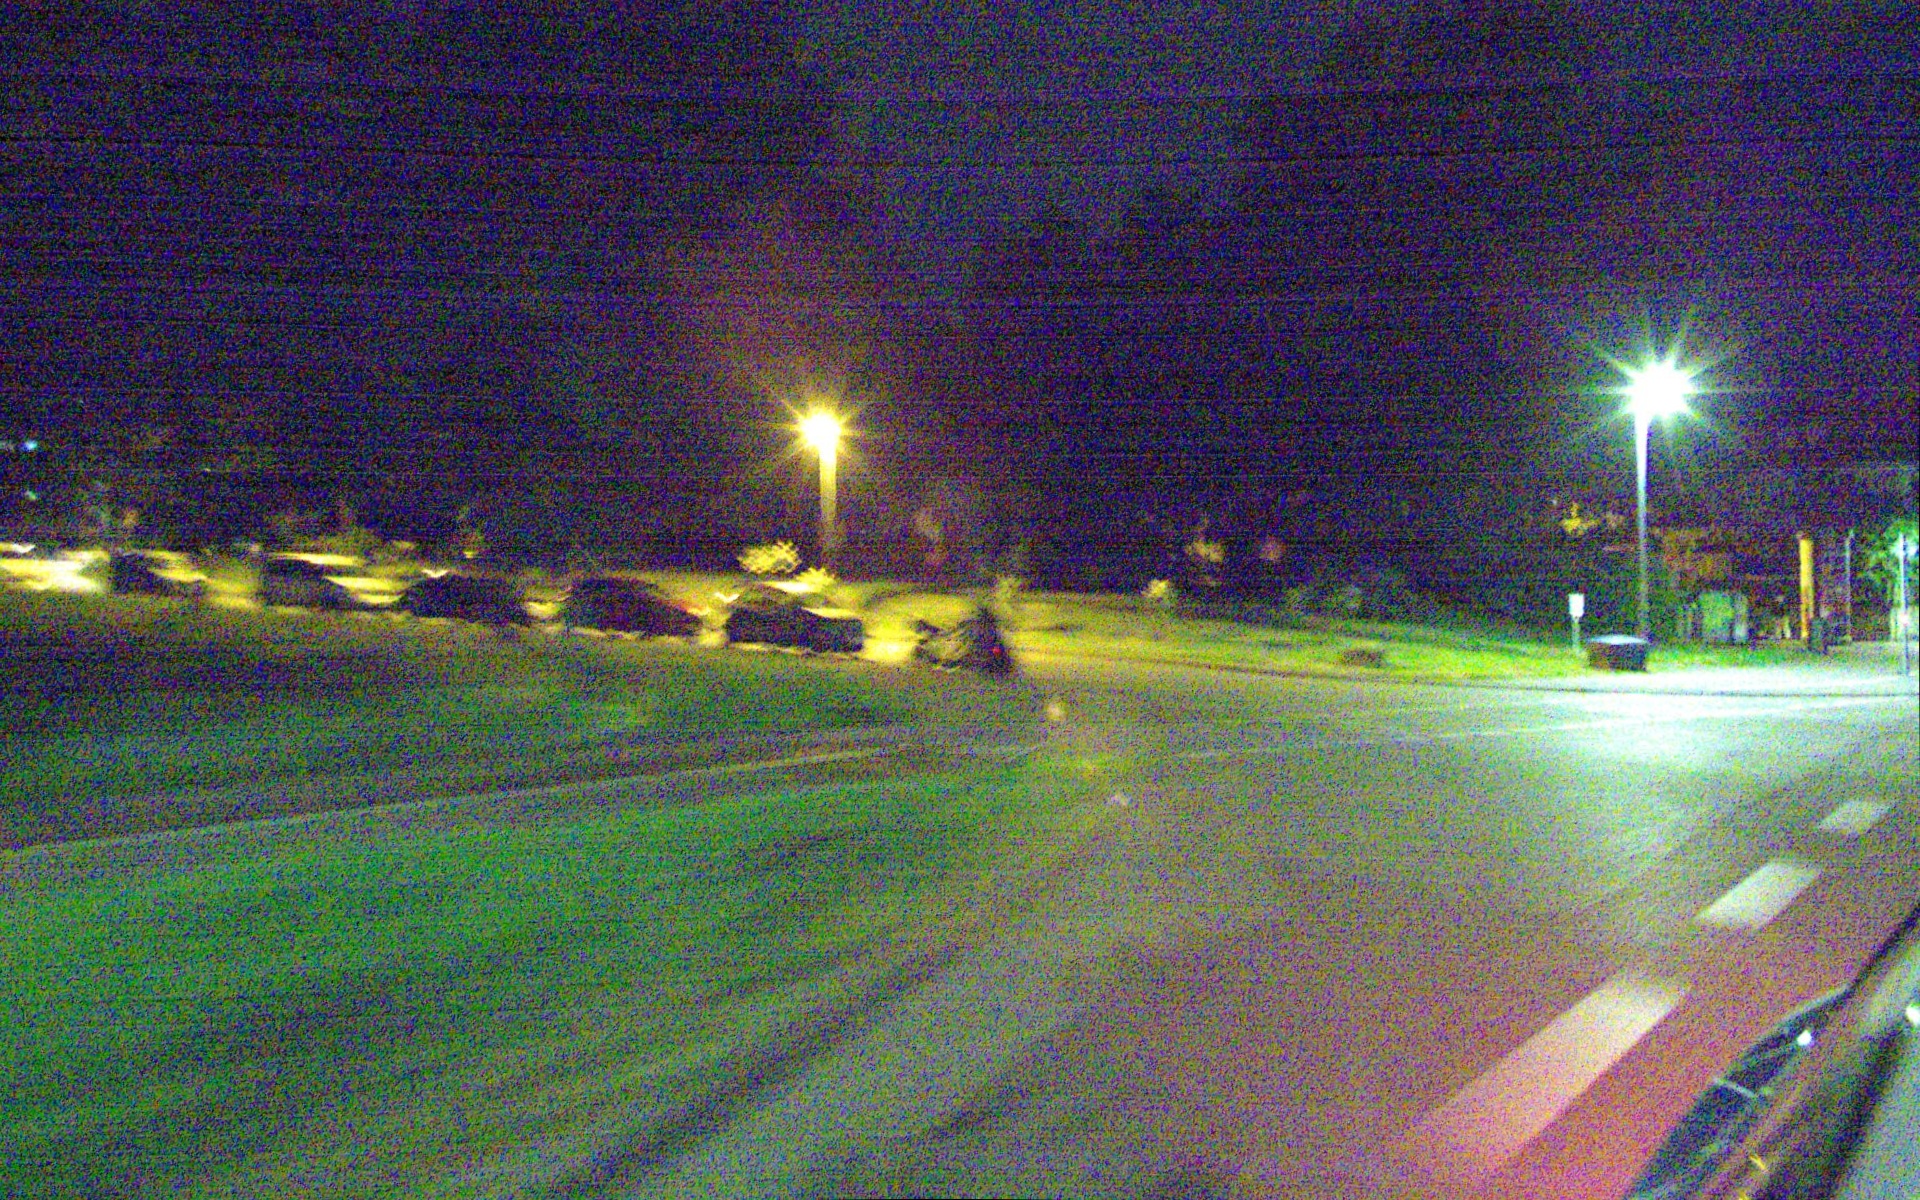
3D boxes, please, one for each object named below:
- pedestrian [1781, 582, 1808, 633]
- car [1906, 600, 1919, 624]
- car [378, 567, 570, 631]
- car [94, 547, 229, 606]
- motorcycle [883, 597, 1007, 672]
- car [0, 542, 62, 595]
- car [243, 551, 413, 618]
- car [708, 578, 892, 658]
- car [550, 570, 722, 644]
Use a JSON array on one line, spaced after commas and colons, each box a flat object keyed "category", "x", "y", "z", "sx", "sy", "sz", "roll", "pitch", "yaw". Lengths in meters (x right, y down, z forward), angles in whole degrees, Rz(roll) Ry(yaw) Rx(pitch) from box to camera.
[{"category": "pedestrian", "x": 33.050, "y": 0.281, "z": 40.089, "sx": 0.759, "sy": 1.961, "sz": 0.647, "roll": 1, "pitch": 1, "yaw": -40}, {"category": "car", "x": 61.876, "y": 0.735, "z": 63.283, "sx": 1.698, "sy": 1.492, "sz": 3.721, "roll": 0, "pitch": 0, "yaw": -37}, {"category": "car", "x": -12.584, "y": -0.057, "z": 26.231, "sx": 4.652, "sy": 1.493, "sz": 1.751, "roll": 2, "pitch": 1, "yaw": 20}, {"category": "car", "x": -24.239, "y": -0.719, "z": 30.726, "sx": 3.498, "sy": 1.691, "sz": 1.657, "roll": 2, "pitch": 1, "yaw": 21}, {"category": "motorcycle", "x": -0.295, "y": 0.593, "z": 18.460, "sx": 2.251, "sy": 1.229, "sz": 0.702, "roll": 2, "pitch": 1, "yaw": 35}, {"category": "car", "x": -32.047, "y": -1.061, "z": 33.942, "sx": 3.392, "sy": 1.691, "sz": 1.655, "roll": 2, "pitch": 1, "yaw": 24}, {"category": "car", "x": -17.549, "y": -0.444, "z": 28.111, "sx": 4.275, "sy": 1.691, "sz": 1.751, "roll": 2, "pitch": 1, "yaw": 20}, {"category": "car", "x": -3.450, "y": 0.336, "z": 21.635, "sx": 3.607, "sy": 1.498, "sz": 1.841, "roll": 2, "pitch": 1, "yaw": 35}, {"category": "car", "x": -7.731, "y": 0.130, "z": 24.075, "sx": 3.997, "sy": 1.567, "sz": 1.596, "roll": 2, "pitch": 1, "yaw": 29}]
